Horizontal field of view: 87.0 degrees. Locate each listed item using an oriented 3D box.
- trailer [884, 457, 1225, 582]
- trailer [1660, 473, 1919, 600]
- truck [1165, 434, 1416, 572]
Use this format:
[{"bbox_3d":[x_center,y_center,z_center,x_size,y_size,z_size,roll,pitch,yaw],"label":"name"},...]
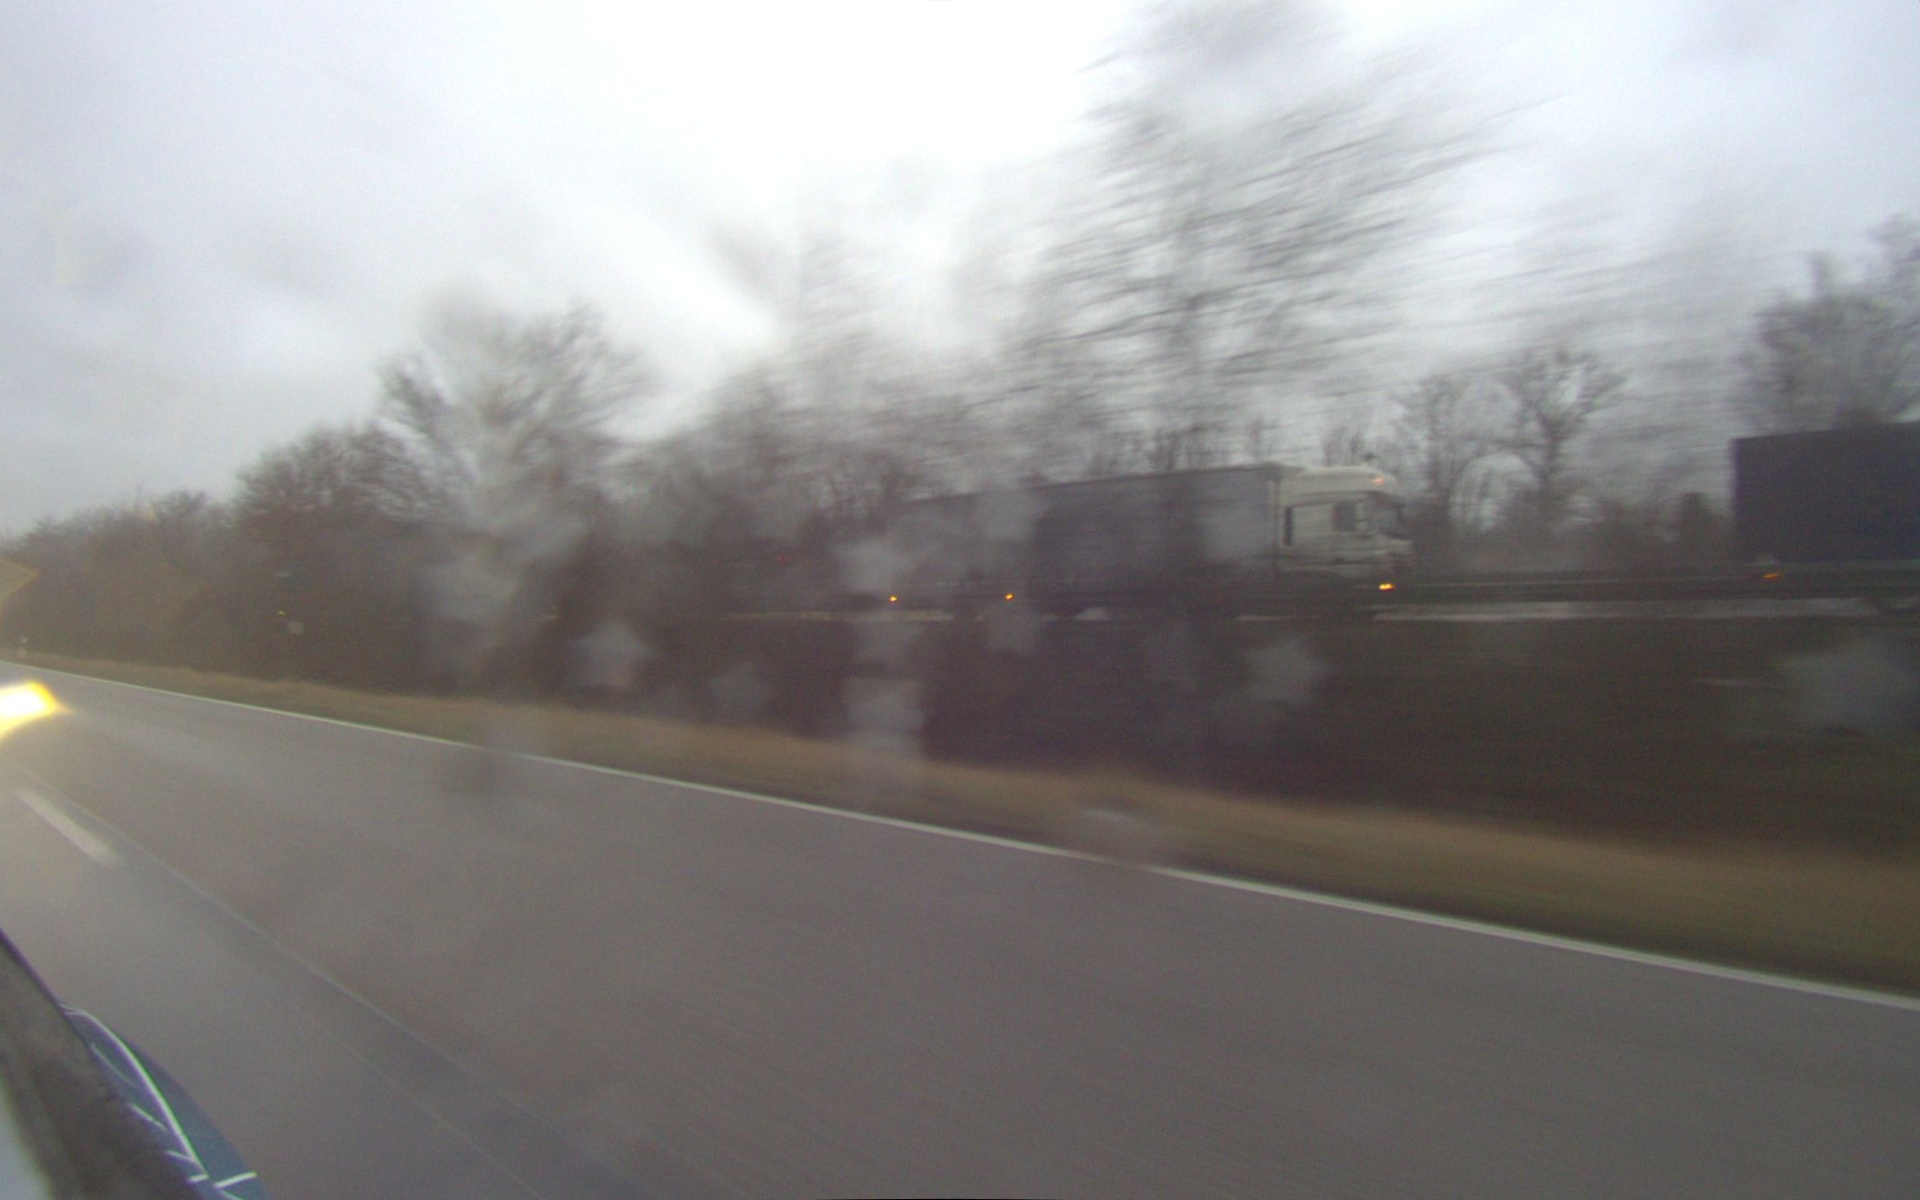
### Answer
[{"bbox_3d":[2.426,-2.173,30.921,11.079,2.913,2.410,-1,-2,41],"label":"trailer"},{"bbox_3d":[21.142,-1.326,20.283,11.496,2.443,2.482,-1,-2,41],"label":"trailer"},{"bbox_3d":[8.312,-2.288,25.824,5.580,2.909,2.424,-1,-2,41],"label":"truck"}]
